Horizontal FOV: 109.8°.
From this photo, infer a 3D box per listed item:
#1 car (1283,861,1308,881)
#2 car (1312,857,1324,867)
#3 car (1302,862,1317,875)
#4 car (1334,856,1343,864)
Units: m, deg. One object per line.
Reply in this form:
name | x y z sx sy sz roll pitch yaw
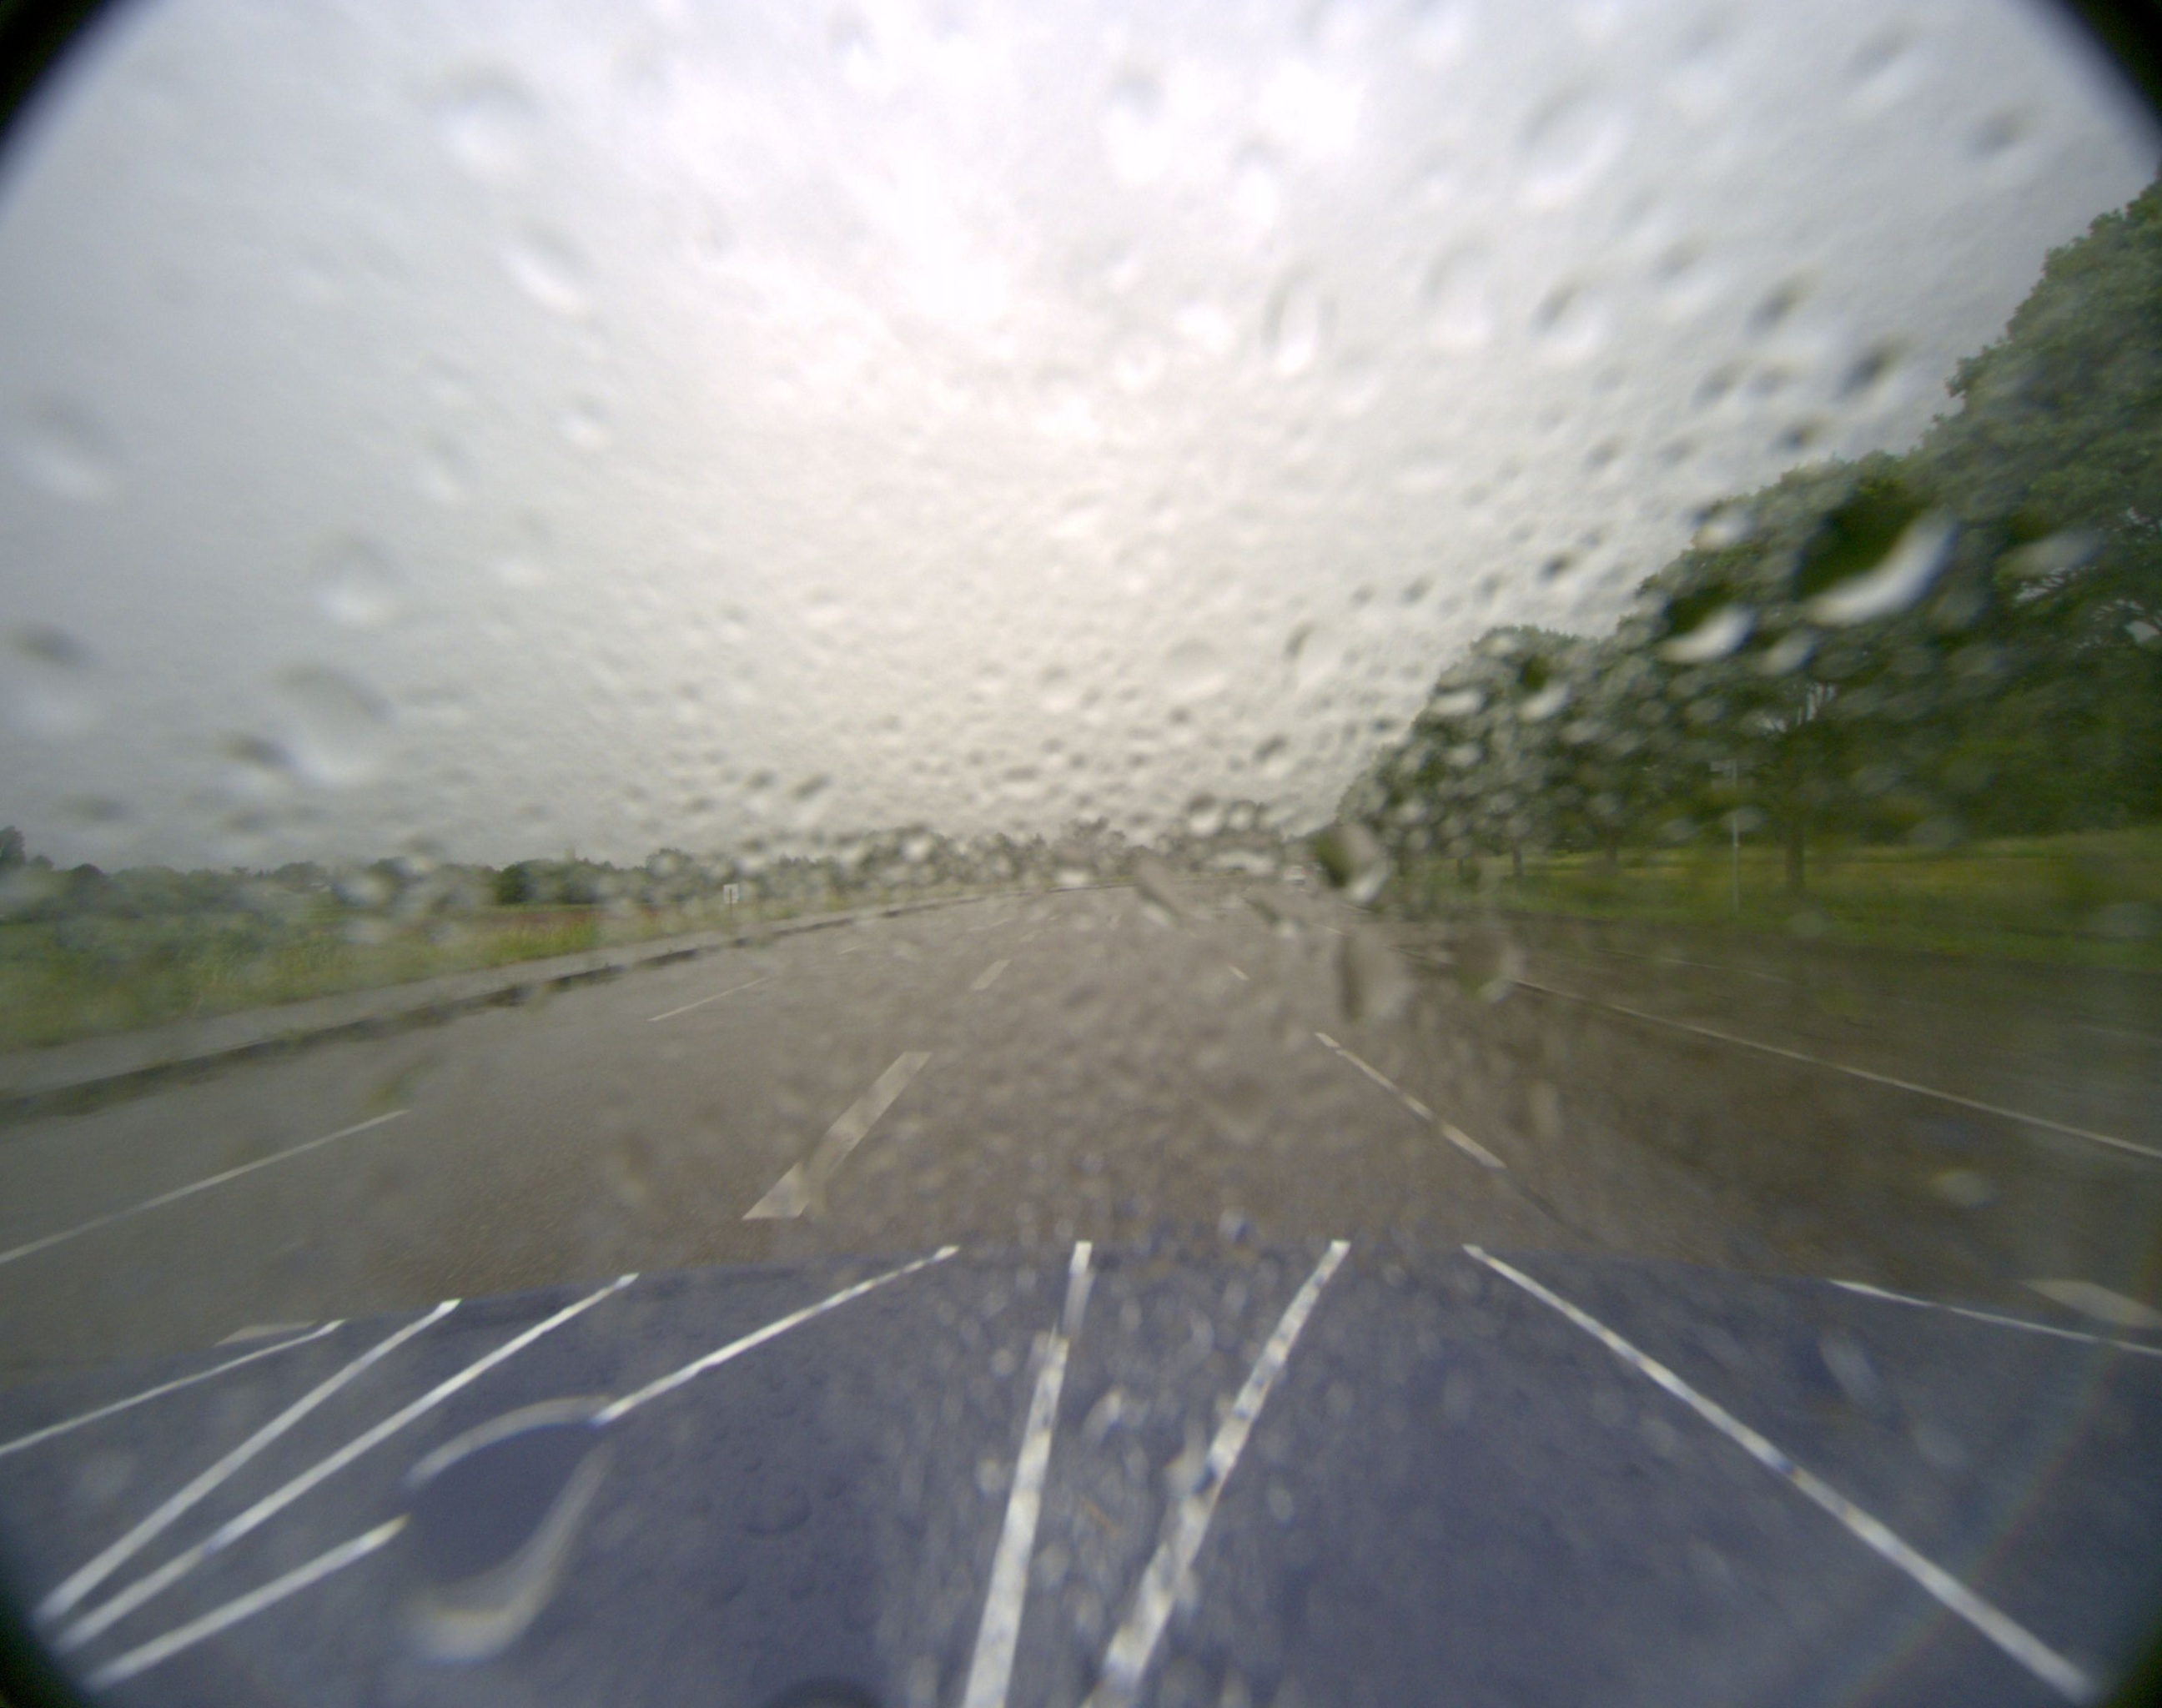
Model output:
car | 17.738 1.410 62.959 1.881 1.564 4.650 0 0 15
car | 37.196 1.238 119.334 1.741 1.478 4.016 0 0 17
car | 31.515 2.026 104.758 1.887 1.578 4.124 -4 0 17
car | 56.533 1.216 166.836 1.926 1.733 4.294 0 0 18
